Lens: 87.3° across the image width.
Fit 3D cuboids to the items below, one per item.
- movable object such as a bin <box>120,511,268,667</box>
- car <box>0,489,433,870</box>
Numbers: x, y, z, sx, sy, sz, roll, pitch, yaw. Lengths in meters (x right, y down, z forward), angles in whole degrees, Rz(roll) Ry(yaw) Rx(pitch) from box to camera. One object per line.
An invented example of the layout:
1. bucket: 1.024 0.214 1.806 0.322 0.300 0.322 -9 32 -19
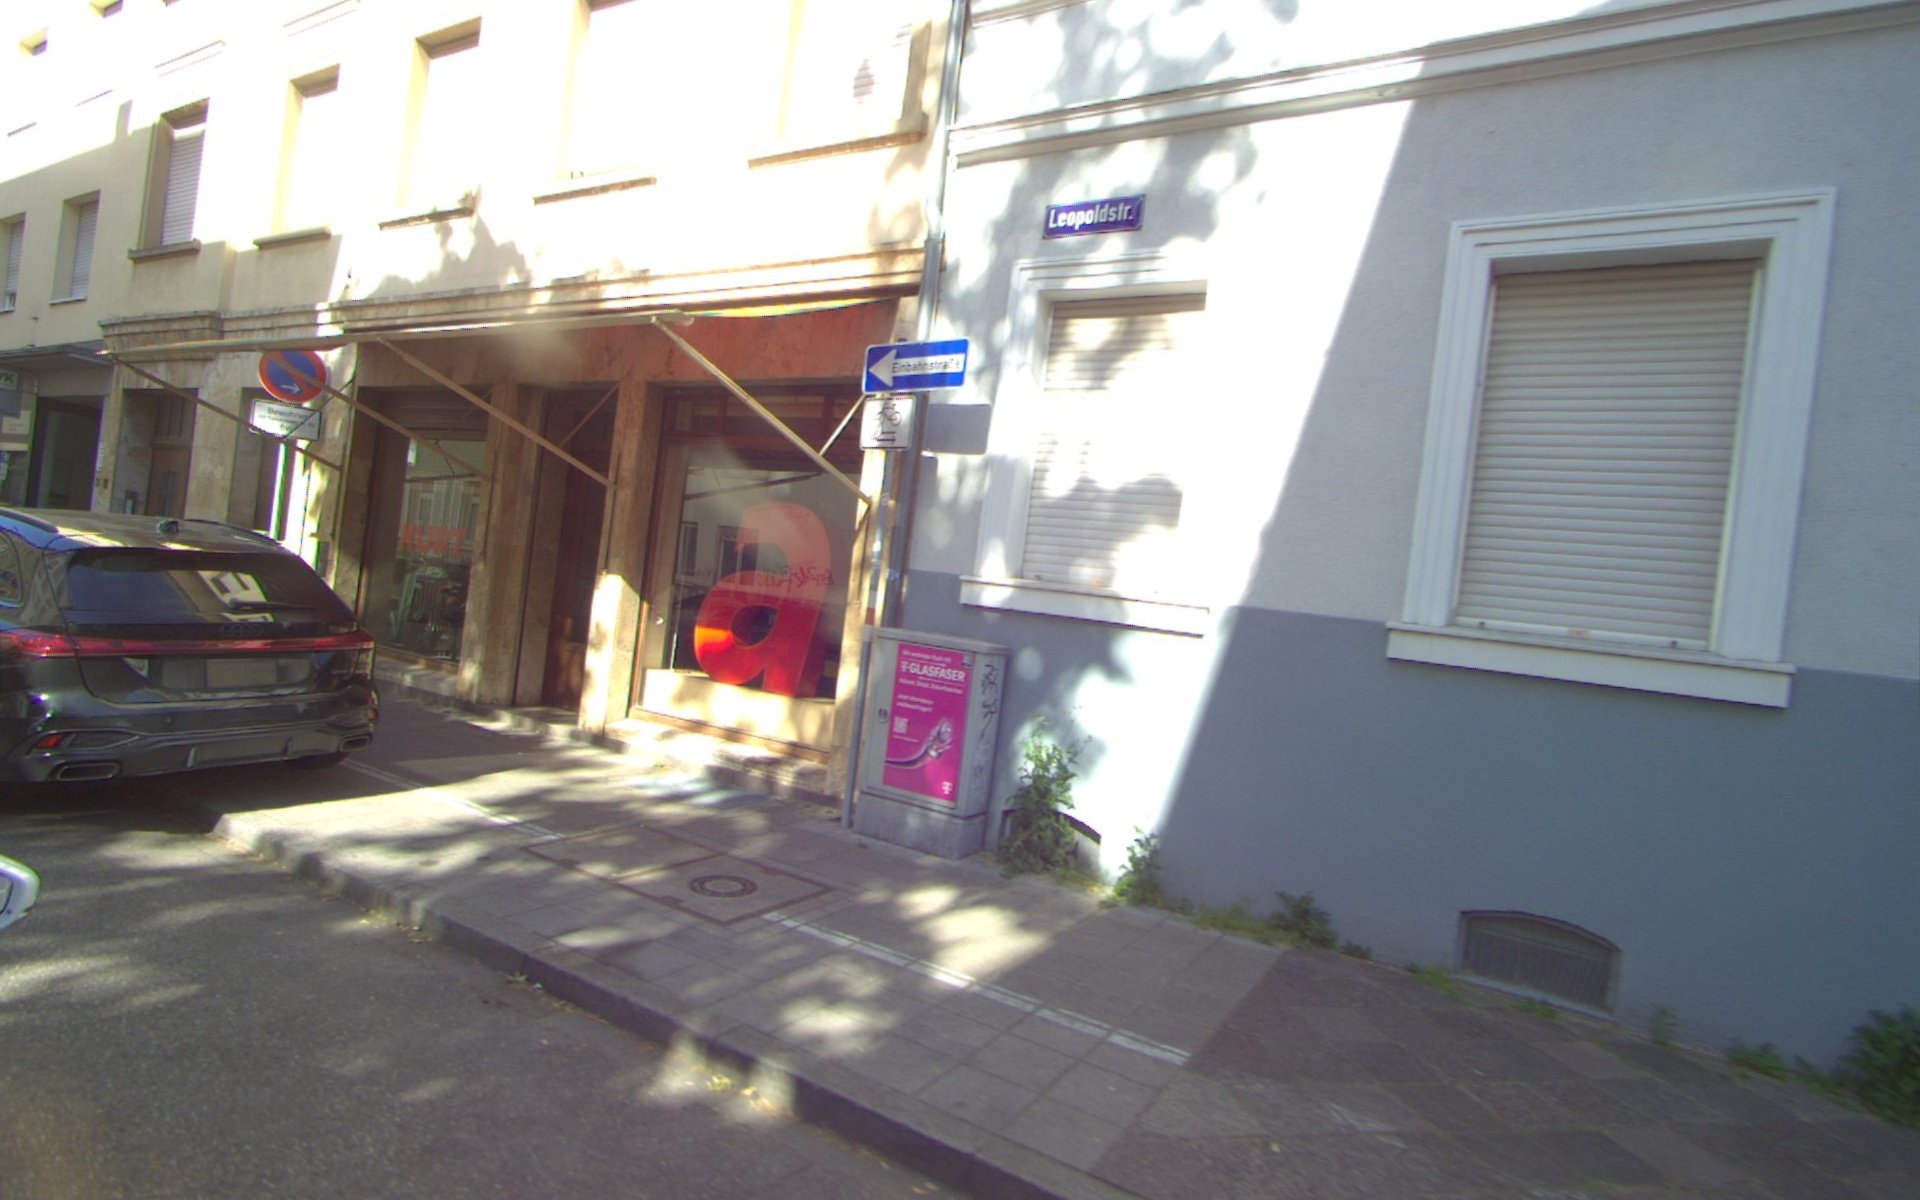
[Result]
1. movable object such as a bin: -7.894 -0.118 10.355 1.350 1.455 0.746 6 2 34
2. car: -5.593 0.212 6.212 4.816 1.597 1.805 6 -2 32
